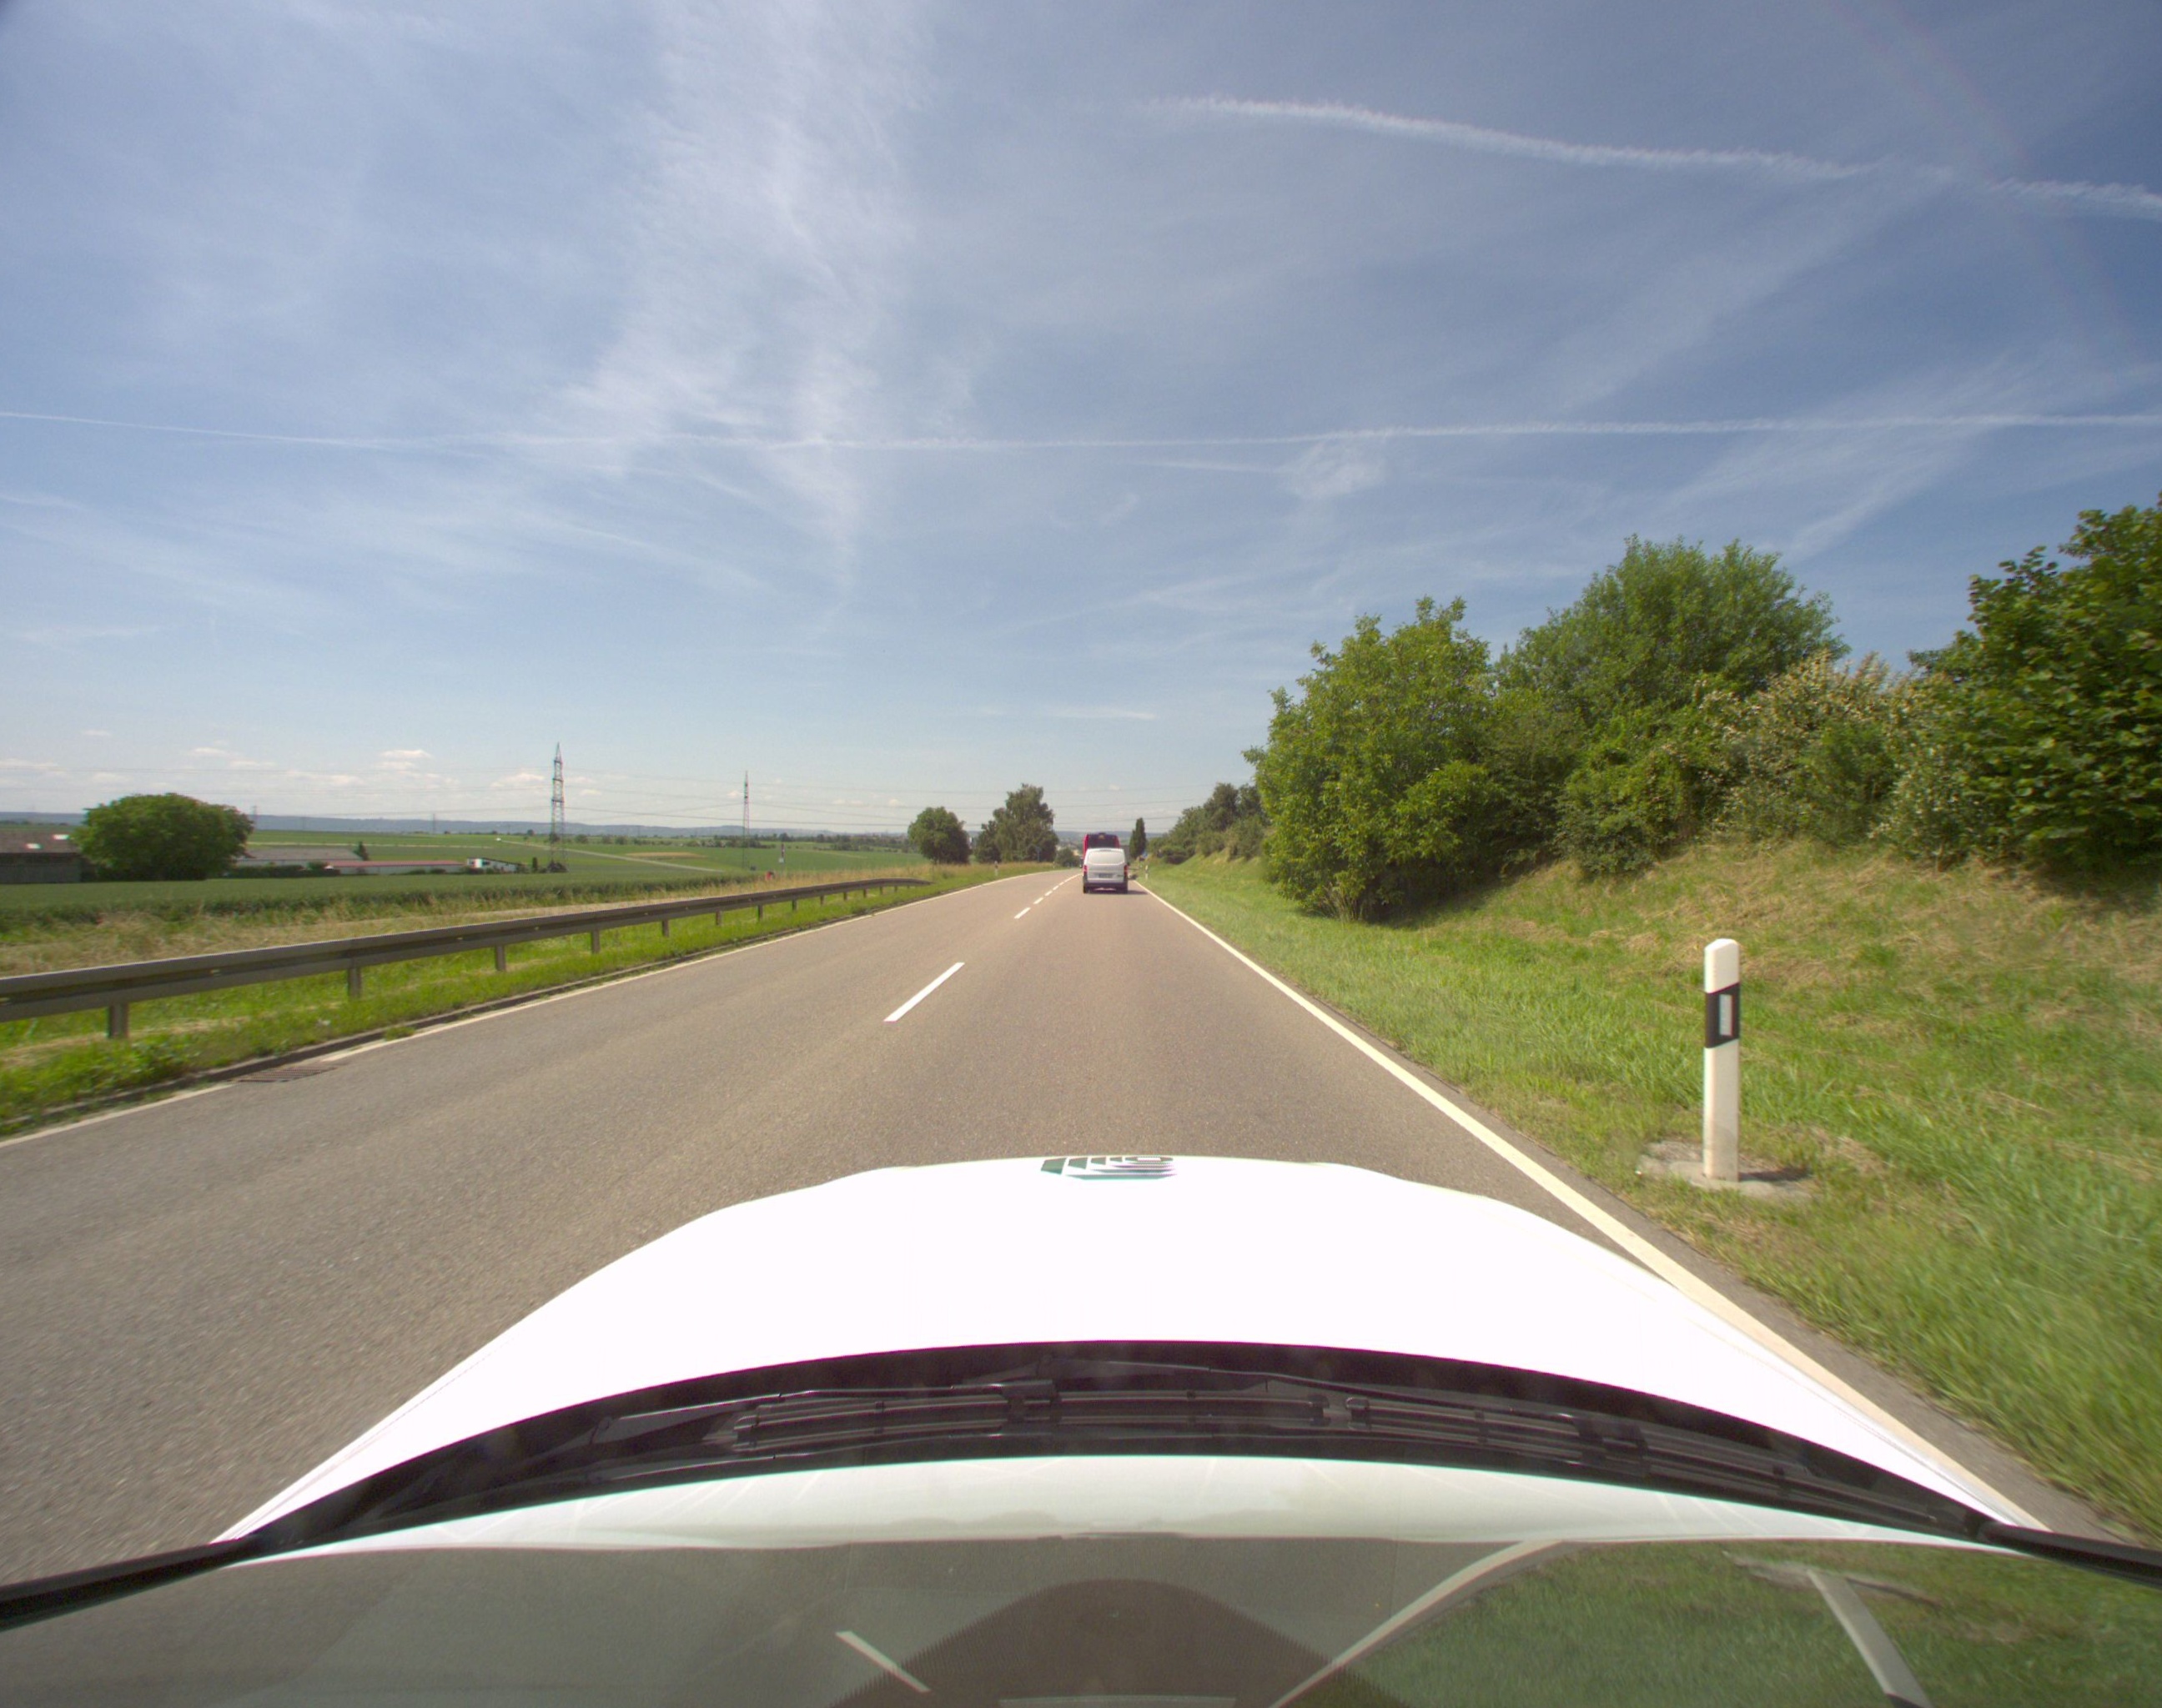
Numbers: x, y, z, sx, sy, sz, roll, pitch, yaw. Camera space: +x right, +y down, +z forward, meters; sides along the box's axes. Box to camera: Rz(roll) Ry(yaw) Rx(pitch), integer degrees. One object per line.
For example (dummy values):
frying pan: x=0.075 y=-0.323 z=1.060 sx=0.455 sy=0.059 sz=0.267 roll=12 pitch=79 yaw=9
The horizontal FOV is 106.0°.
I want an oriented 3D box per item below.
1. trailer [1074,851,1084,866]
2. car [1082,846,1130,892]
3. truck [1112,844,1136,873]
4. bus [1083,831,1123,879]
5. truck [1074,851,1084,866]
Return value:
trailer: x=-0.478 y=1.441 z=245.946 sx=2.584 sy=4.143 sz=13.741 roll=1 pitch=-1 yaw=1
car: x=1.091 y=0.625 z=35.080 sx=1.916 sy=1.889 sz=4.002 roll=0 pitch=0 yaw=2
truck: x=6.767 y=0.712 z=130.094 sx=3.475 sy=4.423 sz=14.909 roll=0 pitch=0 yaw=2
bus: x=1.657 y=-0.025 z=63.956 sx=2.738 sy=3.353 sz=13.223 roll=-1 pitch=1 yaw=1
truck: x=-0.616 y=1.360 z=238.153 sx=2.575 sy=4.104 sz=5.443 roll=1 pitch=-1 yaw=2
